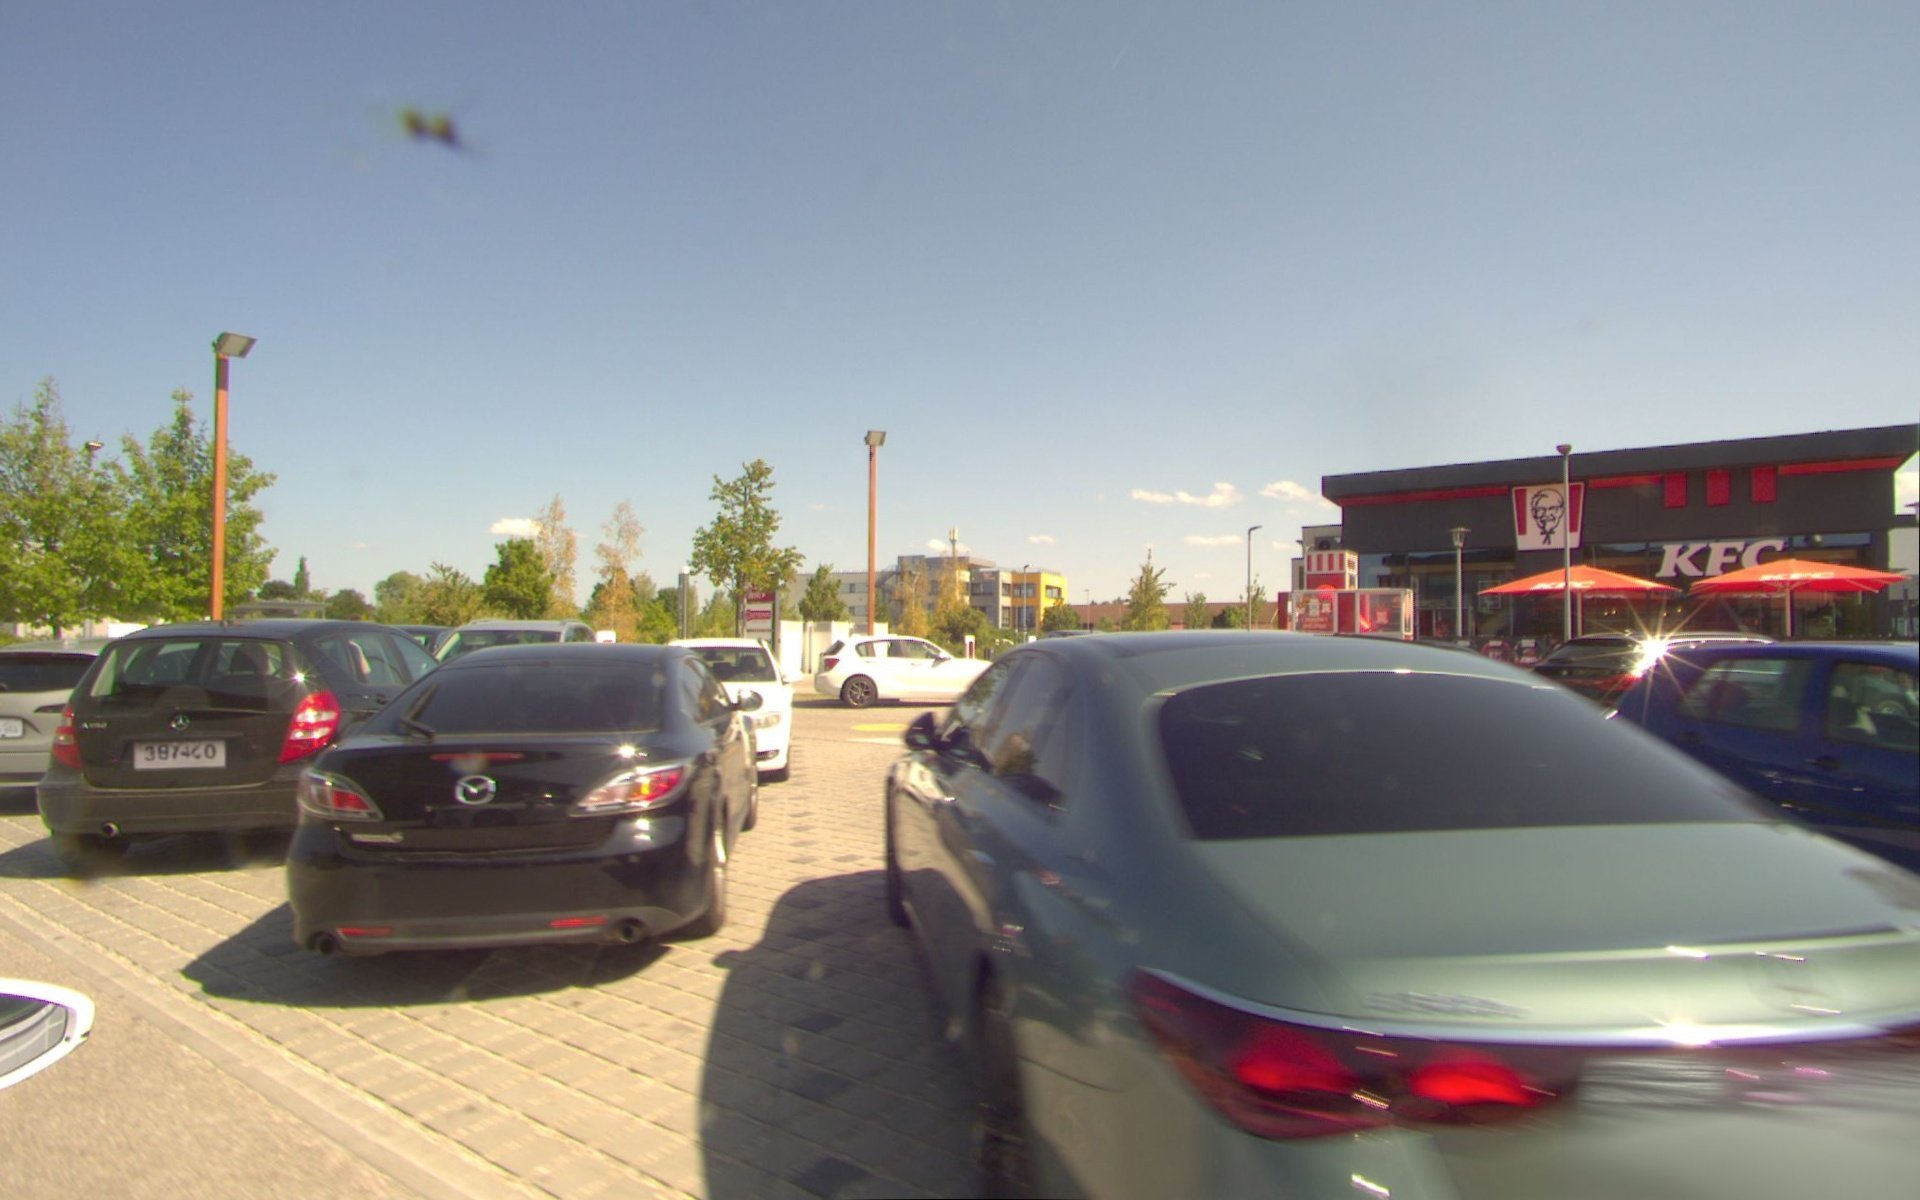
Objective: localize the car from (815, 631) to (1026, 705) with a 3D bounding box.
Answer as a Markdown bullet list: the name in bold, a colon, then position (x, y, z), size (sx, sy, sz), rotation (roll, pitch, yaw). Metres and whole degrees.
- **car**: position (-0.871, 1.390, 20.892), size (4.110, 1.443, 1.843), rotation (1, -2, -14)

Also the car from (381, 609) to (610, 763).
- **car**: position (-5.777, 1.007, 12.987), size (1.715, 1.661, 4.065), rotation (1, -2, -11)

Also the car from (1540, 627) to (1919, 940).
- **car**: position (5.614, 0.928, 5.414), size (1.946, 1.530, 4.417), rotation (1, -2, -9)

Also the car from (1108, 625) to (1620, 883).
- **car**: position (2.826, 1.020, 8.295), size (1.946, 1.530, 4.417), rotation (1, -2, -9)

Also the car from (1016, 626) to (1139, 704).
- **car**: position (2.537, 1.426, 22.571), size (1.724, 1.596, 4.087), rotation (1, -2, -9)

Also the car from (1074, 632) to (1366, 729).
- **car**: position (4.316, 1.307, 16.826), size (4.392, 1.490, 1.912), rotation (1, -2, -15)

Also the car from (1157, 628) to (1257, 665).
- **car**: position (11.707, 2.191, 47.611), size (4.324, 1.706, 1.633), rotation (-1, -2, 34)

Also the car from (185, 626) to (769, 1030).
- **car**: position (-2.161, 0.926, 5.785), size (1.794, 1.467, 4.077), rotation (1, -2, -7)

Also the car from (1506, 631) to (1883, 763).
- **car**: position (9.342, 1.178, 12.844), size (3.928, 1.508, 1.819), rotation (1, -2, -14)

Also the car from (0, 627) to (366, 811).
- **car**: position (-8.183, 1.021, 10.302), size (1.800, 1.465, 4.662), rotation (1, -2, -7)

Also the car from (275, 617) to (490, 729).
- **car**: position (-9.048, 1.084, 16.100), size (1.861, 1.556, 4.187), rotation (1, -2, -14)

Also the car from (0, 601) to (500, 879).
- **car**: position (-5.125, 0.910, 7.983), size (1.778, 1.613, 3.998), rotation (1, -2, -12)

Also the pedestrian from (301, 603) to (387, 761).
- **pedestrian**: position (-6.960, 0.914, 11.339), size (0.599, 1.734, 0.564), rotation (0, -1, -2)

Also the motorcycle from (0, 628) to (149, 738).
- **motorcycle**: position (-11.928, 1.036, 13.158), size (1.051, 1.267, 2.249), rotation (2, -1, -13)

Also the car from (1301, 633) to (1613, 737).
- **car**: position (7.384, 1.235, 15.021), size (3.927, 1.420, 1.820), rotation (1, -2, -13)

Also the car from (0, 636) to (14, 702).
- **car**: position (-22.177, 1.402, 20.098), size (1.800, 1.395, 4.420), rotation (-1, -3, 38)

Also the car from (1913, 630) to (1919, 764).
- **car**: position (13.223, 1.124, 11.498), size (4.282, 1.530, 1.774), rotation (1, -2, -23)

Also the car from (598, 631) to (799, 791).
- **car**: position (-2.717, 1.069, 11.128), size (1.760, 1.426, 4.081), rotation (1, -2, -10)

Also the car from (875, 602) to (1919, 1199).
- **car**: position (0.792, 0.875, 3.545), size (1.851, 1.530, 4.543), rotation (1, -2, -9)

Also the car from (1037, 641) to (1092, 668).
- **car**: position (6.491, 3.333, 61.859), size (1.923, 1.588, 3.982), rotation (-1, -3, 31)
